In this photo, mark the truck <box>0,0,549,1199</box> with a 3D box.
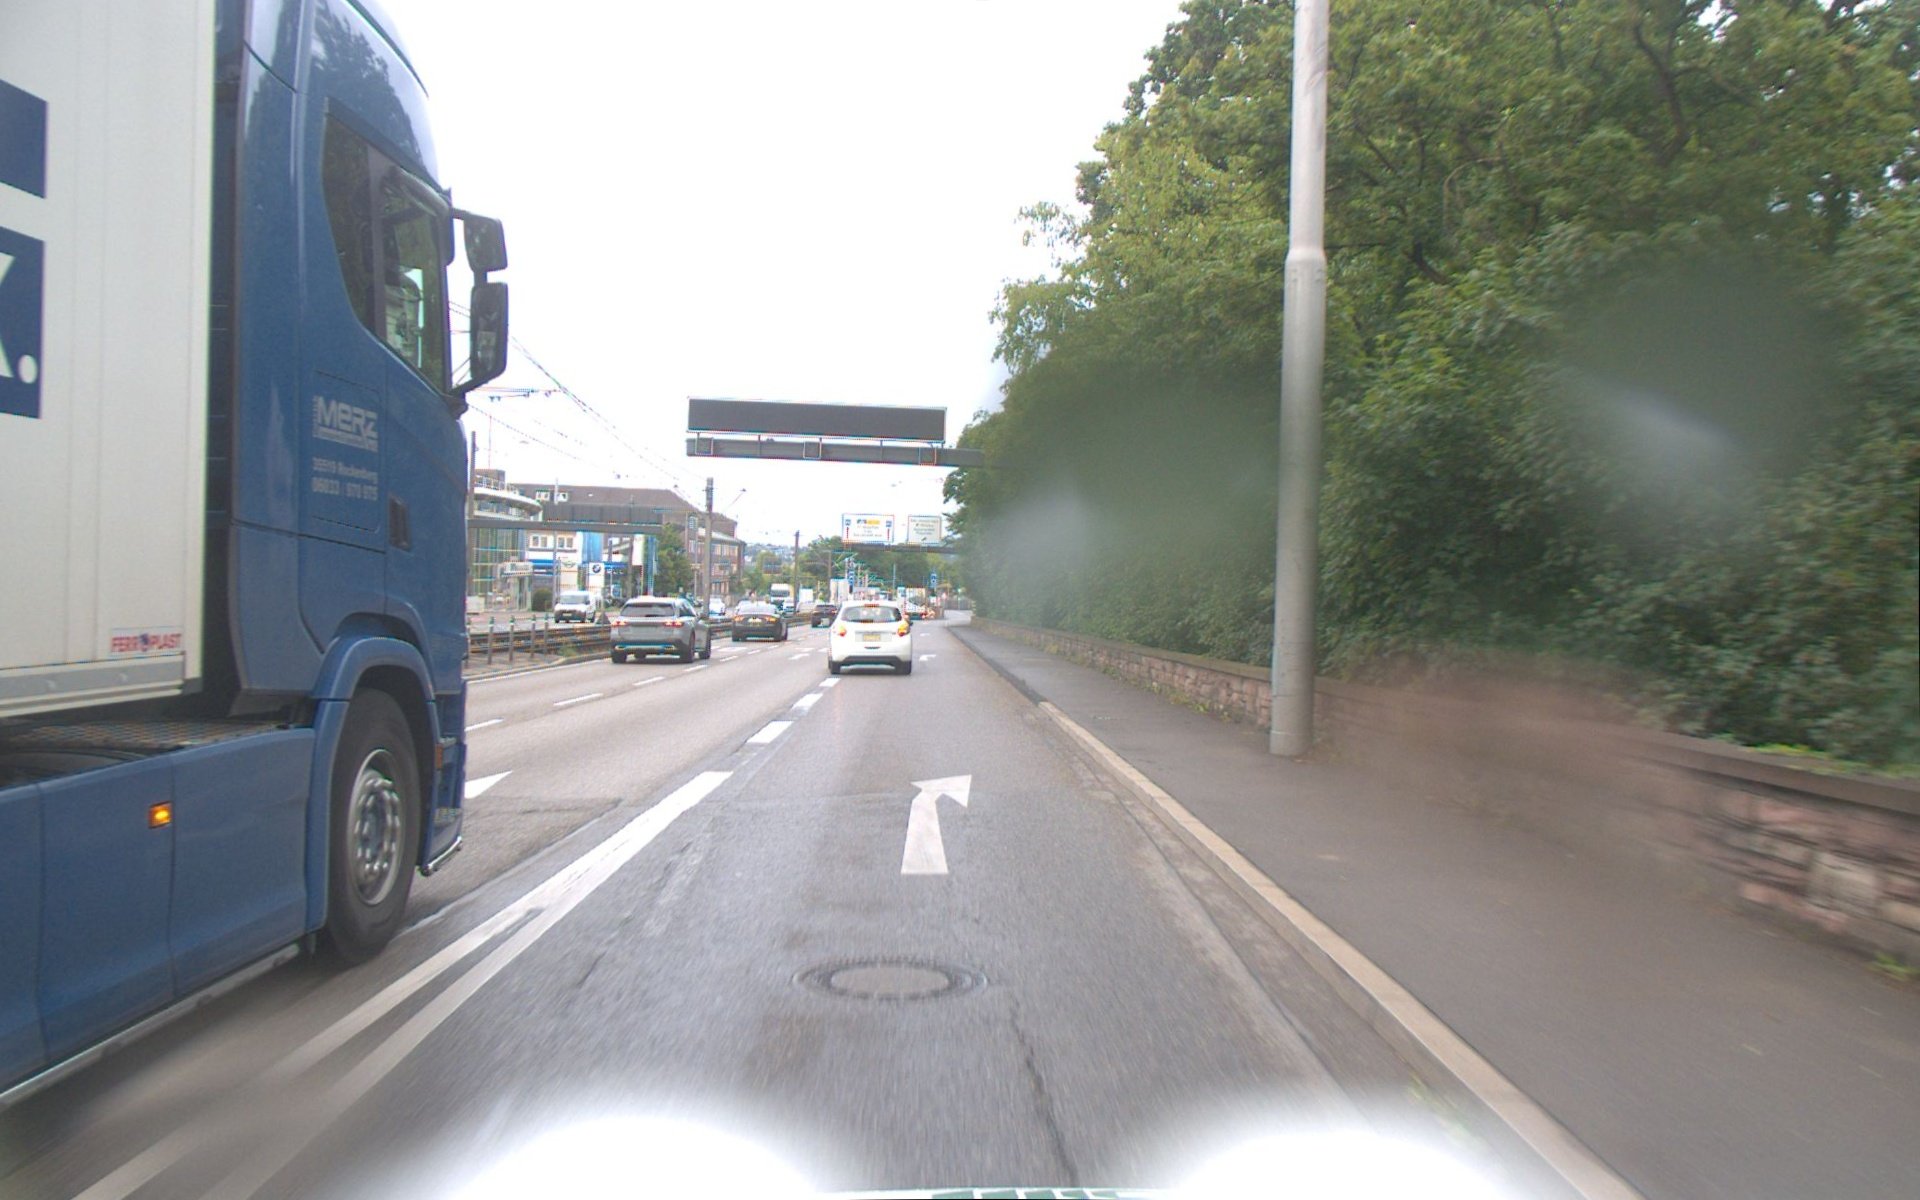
[{"bbox_3d":[-3.407,-0.703,4.574,2.705,4.270,6.785,0,0,1],"label":"truck"}]

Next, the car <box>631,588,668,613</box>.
[{"bbox_3d":[-22.858,0.067,121.844,1.953,1.691,3.998,2,-1,-1],"label":"car"}]

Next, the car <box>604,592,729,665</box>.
[{"bbox_3d":[-6.867,0.650,39.127,1.782,1.593,4.095,-1,0,7],"label":"car"}]

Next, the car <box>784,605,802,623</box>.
[{"bbox_3d":[-21.607,1.869,214.239,1.953,2.049,3.998,2,-3,-1],"label":"car"}]

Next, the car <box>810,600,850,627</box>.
[{"bbox_3d":[-7.958,0.836,101.334,1.952,1.603,4.001,1,-1,2],"label":"car"}]

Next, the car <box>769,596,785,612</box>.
[{"bbox_3d":[-26.458,0.646,239.625,1.953,2.049,3.998,2,-3,-1],"label":"car"}]

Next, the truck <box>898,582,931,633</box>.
[{"bbox_3d":[-5.465,1.037,201.582,3.393,5.496,12.050,2,-3,1],"label":"truck"}]

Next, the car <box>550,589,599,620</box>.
[{"bbox_3d":[-22.528,0.297,96.809,1.953,1.691,3.998,2,-1,-1],"label":"car"}]

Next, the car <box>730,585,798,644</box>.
[{"bbox_3d":[-7.232,0.520,61.307,1.685,1.924,3.539,1,3,7],"label":"car"}]

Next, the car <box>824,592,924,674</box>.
[{"bbox_3d":[-1.747,0.647,34.702,1.916,1.514,3.999,2,1,-1],"label":"car"}]
